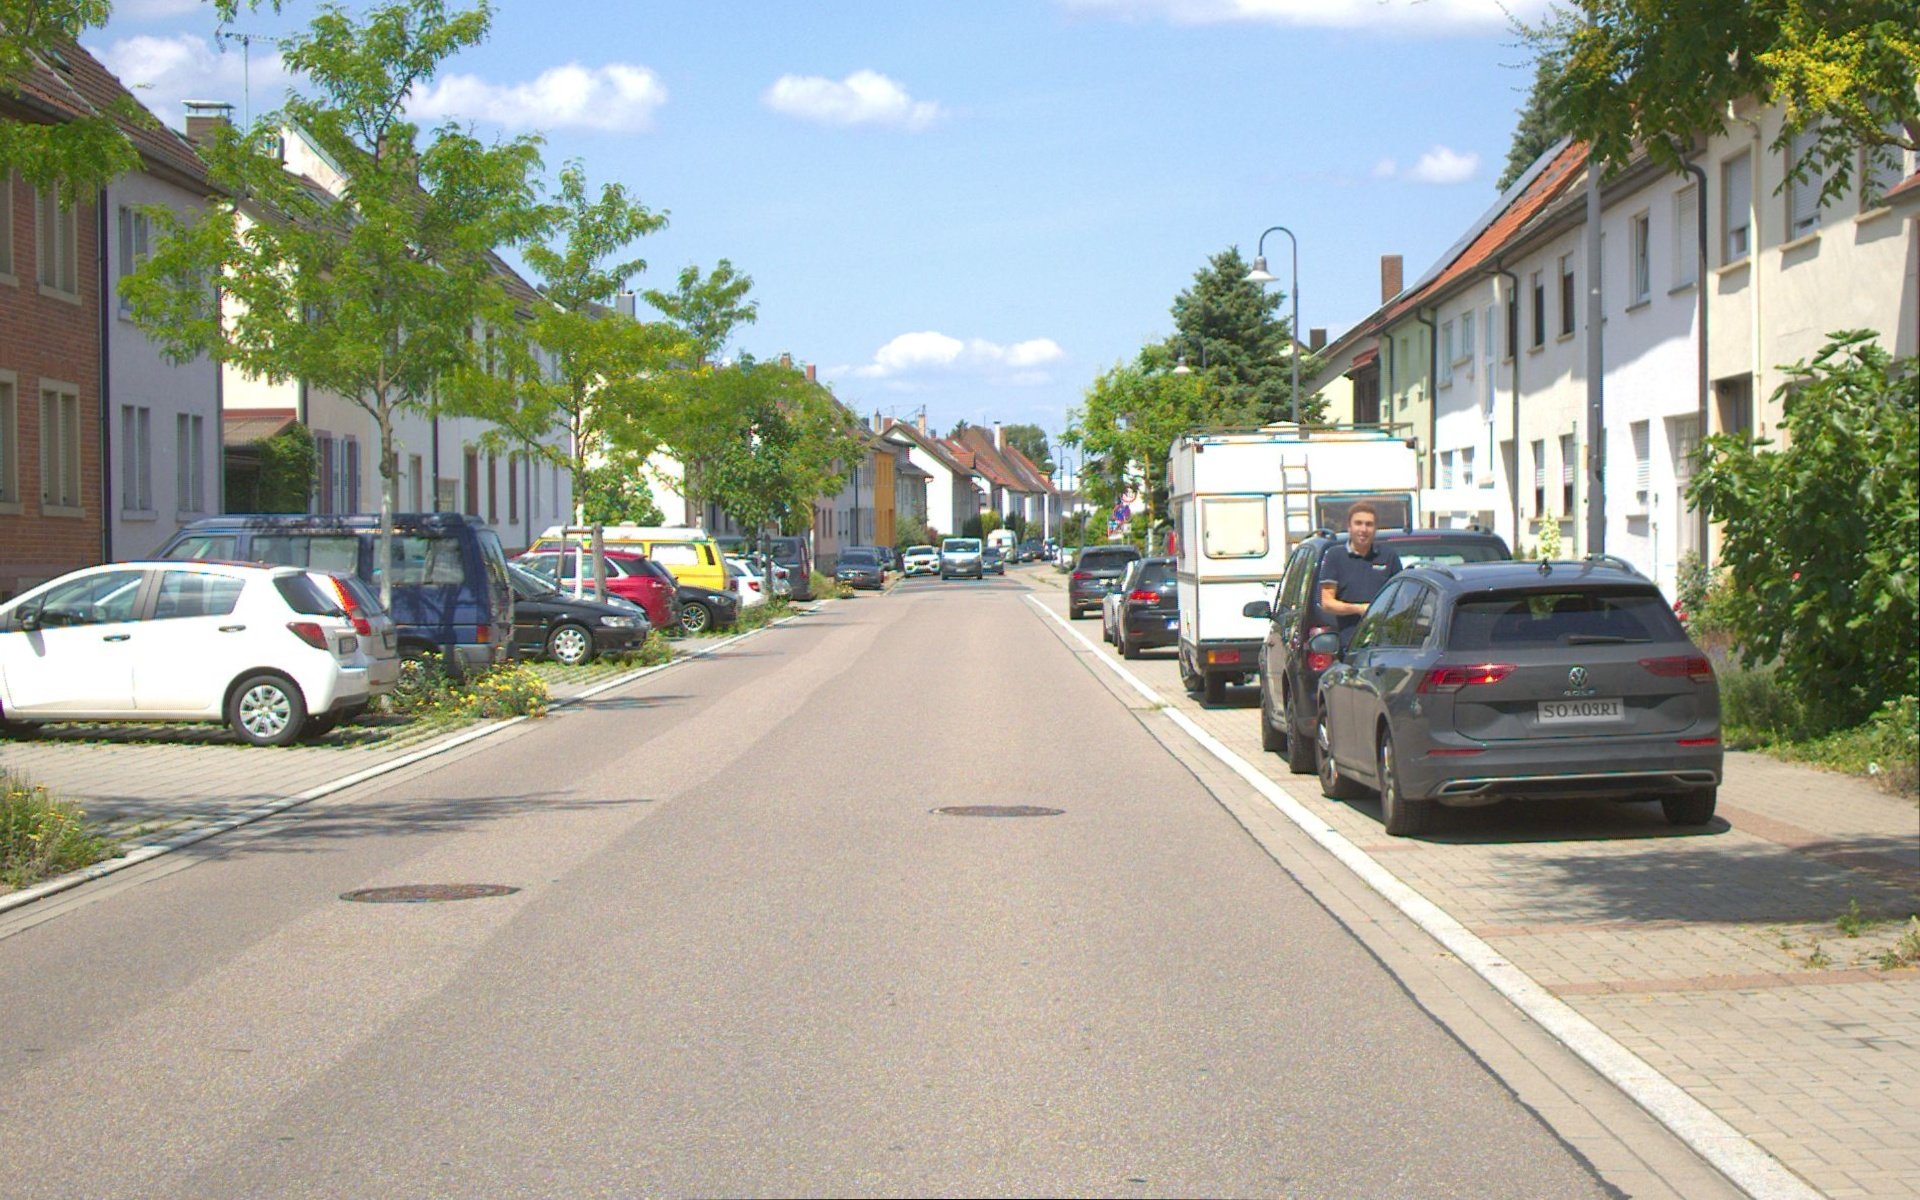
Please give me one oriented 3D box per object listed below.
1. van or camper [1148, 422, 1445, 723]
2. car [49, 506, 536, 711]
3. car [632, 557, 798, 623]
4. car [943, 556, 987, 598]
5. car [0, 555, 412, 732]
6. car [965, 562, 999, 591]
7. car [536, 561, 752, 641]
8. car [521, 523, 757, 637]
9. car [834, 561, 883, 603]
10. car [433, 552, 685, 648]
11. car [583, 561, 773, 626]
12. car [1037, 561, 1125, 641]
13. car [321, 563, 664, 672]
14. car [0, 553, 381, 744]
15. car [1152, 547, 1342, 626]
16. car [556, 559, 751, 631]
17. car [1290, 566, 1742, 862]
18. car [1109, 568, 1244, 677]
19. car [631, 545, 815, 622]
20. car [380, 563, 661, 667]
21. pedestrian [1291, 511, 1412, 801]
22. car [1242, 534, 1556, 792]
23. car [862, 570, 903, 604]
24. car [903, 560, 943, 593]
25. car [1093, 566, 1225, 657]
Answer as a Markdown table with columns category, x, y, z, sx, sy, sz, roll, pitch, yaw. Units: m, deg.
| category | x | y | z | sx | sy | sz | roll | pitch | yaw |
| --- | --- | --- | --- | --- | --- | --- | --- | --- | --- |
| van or camper | 3.343 | -0.303 | 35.448 | 2.473 | 2.800 | 5.790 | -1 | 1 | 0 |
| car | -6.877 | 0.072 | 35.749 | 4.613 | 1.989 | 1.953 | 1 | 0 | 3 |
| car | -6.287 | -0.253 | 88.639 | 4.182 | 1.563 | 1.774 | 2 | 0 | -3 |
| car | 0.223 | -1.078 | 161.433 | 2.022 | 1.943 | 4.898 | 0 | 0 | 0 |
| car | -7.087 | 0.369 | 31.072 | 3.916 | 1.483 | 1.772 | 1 | 0 | 3 |
| car | 1.190 | -1.275 | 187.469 | 1.762 | 1.517 | 4.049 | -2 | 1 | 0 |
| car | -6.106 | 0.008 | 66.723 | 4.010 | 1.454 | 1.755 | 1 | 0 | 1 |
| car | -6.430 | -0.406 | 69.228 | 4.508 | 2.170 | 1.925 | 1 | 0 | 1 |
| car | -4.020 | -0.741 | 136.259 | 1.816 | 1.428 | 4.140 | 4 | 2 | -2 |
| car | -7.118 | -0.010 | 61.313 | 4.253 | 1.606 | 1.843 | 1 | 0 | 0 |
| car | -6.689 | -0.151 | 81.765 | 4.295 | 1.463 | 1.774 | 1 | 0 | 2 |
| car | 2.757 | -0.007 | 77.561 | 1.864 | 1.630 | 4.446 | -2 | 1 | 3 |
| car | -6.502 | 0.231 | 48.126 | 4.524 | 1.421 | 1.796 | 1 | 0 | 1 |
| car | -6.961 | 0.371 | 28.621 | 3.916 | 1.483 | 1.772 | 1 | 0 | 3 |
| car | 7.265 | -0.332 | 87.385 | 4.618 | 1.887 | 2.020 | 1 | 0 | 0 |
| car | -6.588 | -0.112 | 73.748 | 4.071 | 1.463 | 1.754 | 1 | 0 | -7 |
| car | 3.004 | 0.554 | 19.441 | 1.766 | 1.483 | 4.297 | 0 | 0 | -1 |
| car | 3.120 | 0.294 | 50.247 | 1.767 | 1.524 | 4.007 | 0 | 0 | 1 |
| car | -6.296 | -0.431 | 91.587 | 4.700 | 1.916 | 1.938 | 2 | 0 | 1 |
| car | -6.621 | 0.220 | 52.100 | 4.053 | 1.473 | 1.776 | 1 | 0 | -2 |
| pedestrian | 2.531 | 0.355 | 22.266 | 0.716 | 1.847 | 0.578 | 0 | 0 | 1 |
| car | 3.073 | 0.396 | 24.847 | 1.767 | 1.699 | 4.325 | 0 | 0 | 1 |
| car | -3.848 | -0.671 | 171.796 | 1.811 | 1.603 | 4.000 | 2 | 0 | 1 |
| car | -1.983 | -1.270 | 185.308 | 1.850 | 1.653 | 3.999 | 2 | 0 | 3 |
| car | 3.298 | 0.165 | 57.639 | 1.832 | 1.460 | 4.520 | 0 | 0 | -1 |
